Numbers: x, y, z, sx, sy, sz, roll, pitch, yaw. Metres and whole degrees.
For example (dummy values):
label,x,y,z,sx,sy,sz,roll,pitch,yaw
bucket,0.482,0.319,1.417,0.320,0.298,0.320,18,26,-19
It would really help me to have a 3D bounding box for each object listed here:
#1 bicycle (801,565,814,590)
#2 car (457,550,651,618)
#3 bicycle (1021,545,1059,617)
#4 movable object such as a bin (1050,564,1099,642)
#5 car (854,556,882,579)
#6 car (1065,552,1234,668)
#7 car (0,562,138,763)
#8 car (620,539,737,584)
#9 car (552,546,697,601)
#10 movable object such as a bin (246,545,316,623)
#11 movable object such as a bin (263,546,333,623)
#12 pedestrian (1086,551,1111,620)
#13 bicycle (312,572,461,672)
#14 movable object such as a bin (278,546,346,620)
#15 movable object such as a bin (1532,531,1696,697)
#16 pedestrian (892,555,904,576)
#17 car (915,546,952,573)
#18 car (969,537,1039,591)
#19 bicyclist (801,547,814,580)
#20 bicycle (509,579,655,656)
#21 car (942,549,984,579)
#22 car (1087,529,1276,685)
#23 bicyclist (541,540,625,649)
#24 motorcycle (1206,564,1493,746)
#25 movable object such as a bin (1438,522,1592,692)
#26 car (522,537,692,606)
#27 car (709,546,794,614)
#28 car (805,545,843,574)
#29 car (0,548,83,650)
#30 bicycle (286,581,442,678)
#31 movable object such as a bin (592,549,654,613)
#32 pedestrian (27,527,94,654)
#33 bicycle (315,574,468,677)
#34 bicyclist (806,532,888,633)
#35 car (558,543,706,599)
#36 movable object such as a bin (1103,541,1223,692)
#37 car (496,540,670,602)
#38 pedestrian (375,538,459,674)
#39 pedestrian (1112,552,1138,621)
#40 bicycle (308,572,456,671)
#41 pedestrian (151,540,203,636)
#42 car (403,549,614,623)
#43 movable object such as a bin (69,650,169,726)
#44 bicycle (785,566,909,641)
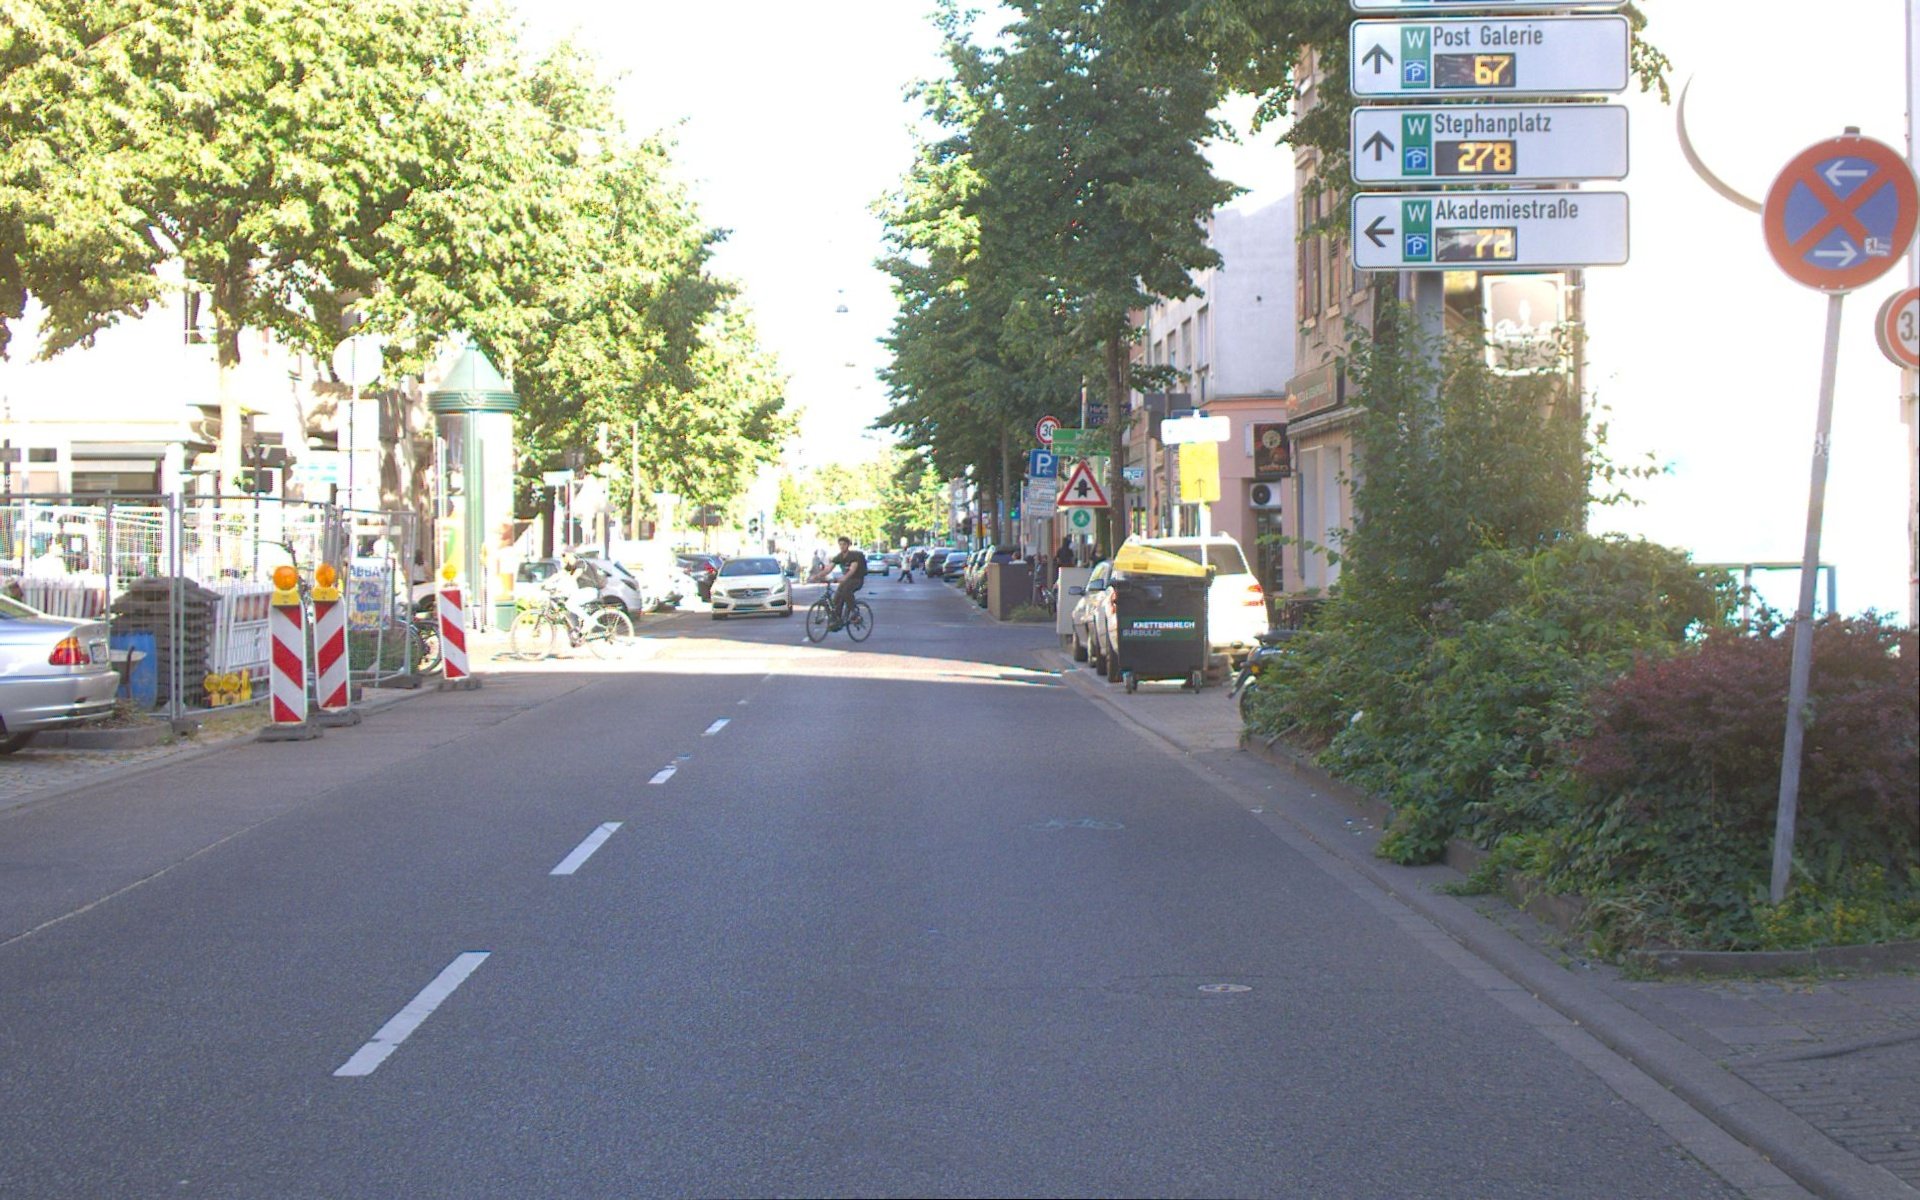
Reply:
label,x,y,z,sx,sy,sz,roll,pitch,yaw
bicycle,-7.261,-1.067,163.875,0.560,1.176,1.628,0,0,-1
car,-8.778,-0.351,74.591,3.986,1.385,2.000,-1,1,-2
bicycle,1.693,-0.407,72.820,0.560,1.436,1.628,-7,1,-1
movable object such as a bin,1.815,0.050,54.613,0.705,1.218,0.681,-1,1,-3
car,-5.926,-2.106,221.752,1.792,1.406,4.000,-1,1,-1
car,2.501,0.096,46.301,1.822,1.386,4.301,-3,1,-2
car,-8.513,0.431,25.024,4.680,1.407,1.808,0,1,-4
car,-9.886,-1.360,121.028,3.986,1.494,2.000,-1,1,-2
car,-9.612,-0.759,98.663,3.986,1.495,2.000,-1,0,-2
movable object such as a bin,-13.087,-0.315,66.330,1.140,1.480,1.236,-1,1,-3
movable object such as a bin,-13.041,-0.318,67.788,1.171,1.480,1.315,-1,1,-3
pedestrian,3.314,-0.346,82.179,0.547,1.644,0.664,-1,1,0
bicycle,-7.279,0.277,43.682,1.854,1.248,0.600,0,1,-8
movable object such as a bin,-13.095,-0.351,69.521,1.171,1.480,1.315,-1,1,-3
movable object such as a bin,6.221,0.118,32.761,1.270,1.525,1.177,-1,1,-2
pedestrian,-3.030,-1.681,168.729,0.545,1.023,0.546,-1,1,-3
car,-1.503,-2.279,193.432,1.993,1.503,4.000,0,0,-1
car,1.332,-1.125,105.855,1.993,1.604,4.000,-1,1,-1
bicyclist,-7.270,-1.734,163.887,0.560,1.542,0.728,0,0,-1
bicycle,-5.454,0.248,49.587,1.948,1.055,0.769,-1,1,-19
car,0.146,-1.794,173.850,1.993,1.503,4.000,0,0,-1
car,2.580,0.042,40.980,1.822,1.673,4.601,-3,1,-1
bicyclist,-5.438,-0.087,49.580,1.037,1.555,0.769,-1,1,-19
motorcycle,2.976,0.402,26.332,1.977,1.325,0.912,-1,1,-13
movable object such as a bin,5.490,0.056,34.121,1.205,1.622,1.498,-1,1,-2
car,-8.967,-0.728,87.499,3.987,1.688,2.000,-1,1,4
car,-4.823,-0.482,79.934,1.802,1.430,4.410,-3,1,-2
car,-6.891,-2.065,174.222,1.822,1.386,4.301,-3,1,-2
car,-16.395,0.017,55.688,3.986,1.605,2.000,-2,1,-22
bicycle,-7.268,0.359,41.996,1.854,1.166,0.600,0,1,-8
movable object such as a bin,-7.964,-0.452,81.276,1.334,1.473,1.480,-1,1,-1
pedestrian,-11.834,-0.129,45.247,0.610,1.647,0.813,-1,1,2
bicycle,-7.050,0.317,42.671,1.854,1.248,0.600,0,1,-8
bicyclist,-1.903,-0.299,58.011,1.153,1.687,0.721,-1,1,-37
car,-9.171,-0.816,96.315,3.986,1.494,2.000,-1,1,-2
movable object such as a bin,2.177,0.160,36.659,1.143,1.556,1.459,-1,1,7
car,-9.273,-0.723,84.696,3.987,1.452,1.868,-1,1,4
pedestrian,-6.846,0.068,43.345,0.792,1.702,0.767,0,1,-34
pedestrian,3.959,-0.335,82.488,0.547,1.644,0.664,-1,1,-1
bicycle,-7.443,0.278,44.321,1.854,1.248,0.600,0,1,-8
pedestrian,-13.525,-0.208,59.417,0.771,1.637,0.690,-1,1,-6
car,-9.007,-0.292,68.801,3.986,1.385,2.000,-1,1,-2
movable object such as a bin,-7.476,0.777,30.586,0.627,0.614,1.077,-1,1,-1
bicycle,-1.906,0.046,58.013,2.029,1.215,0.721,-1,1,-37
